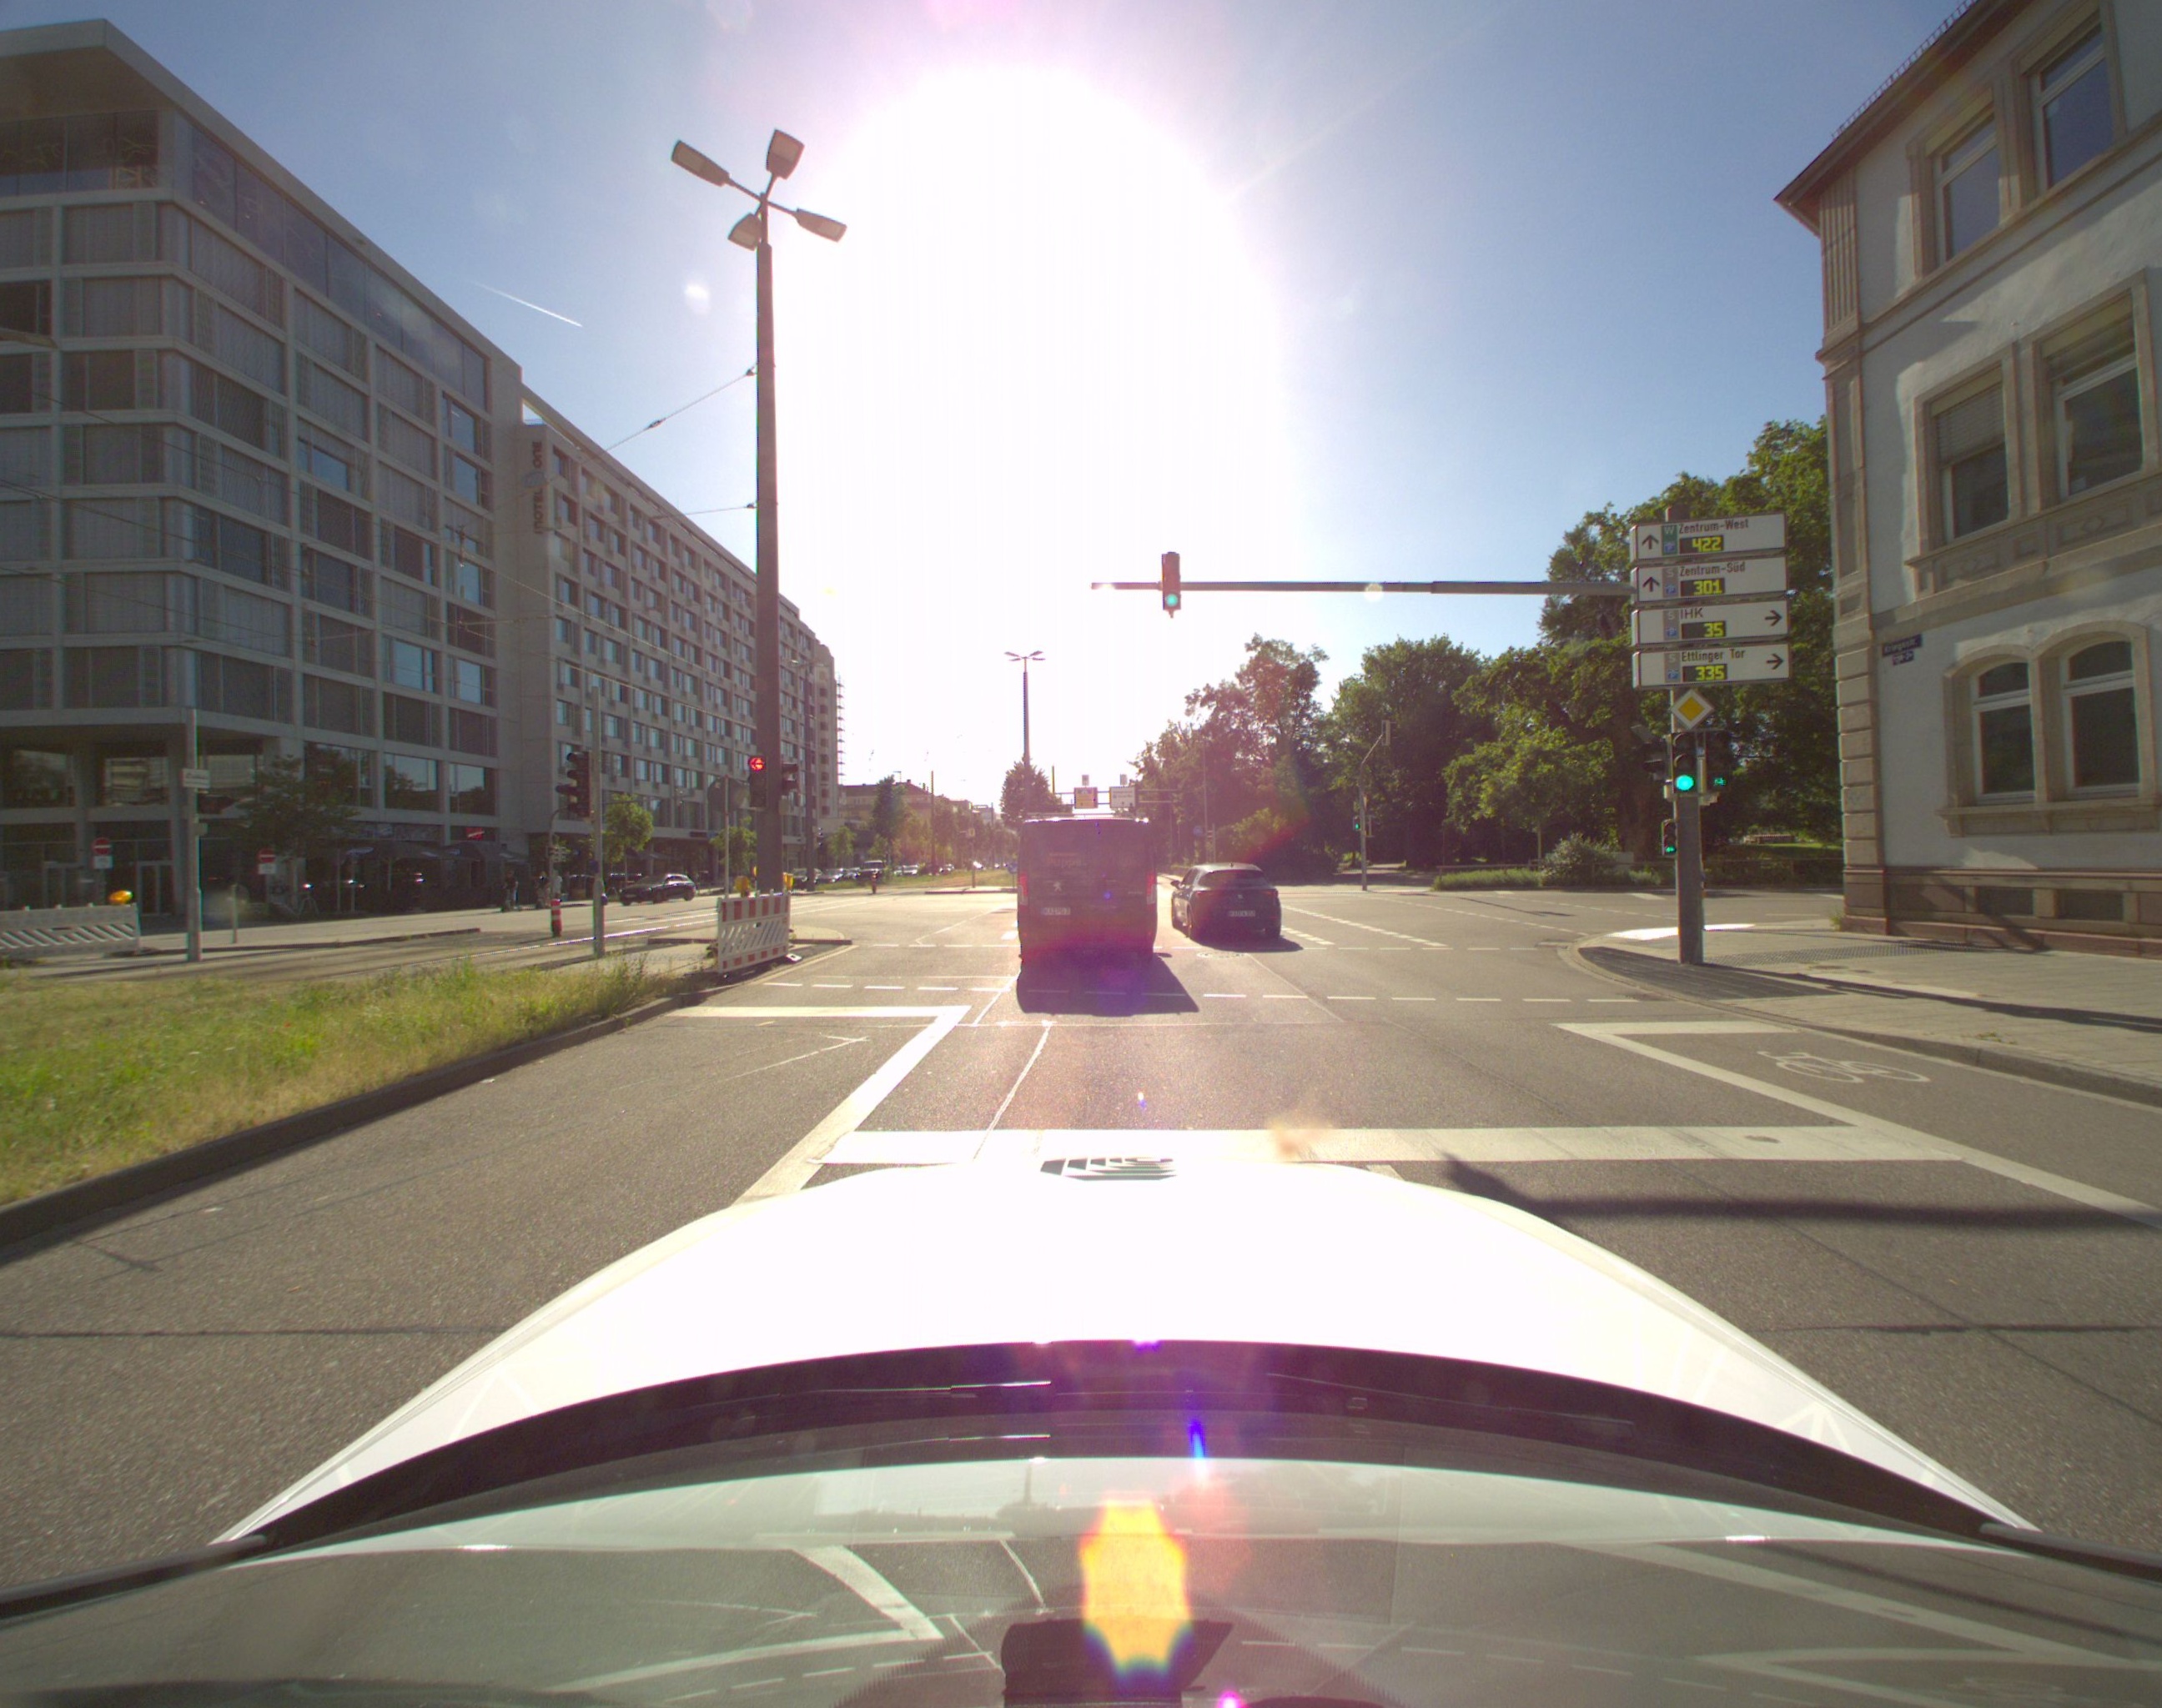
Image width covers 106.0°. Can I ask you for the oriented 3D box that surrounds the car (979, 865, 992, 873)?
[{"bbox_3d":[-19.102,2.901,162.457,1.986,1.552,4.002,0,-1,2],"label":"car"}]

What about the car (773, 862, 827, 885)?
[{"bbox_3d":[-19.724,1.334,57.352,1.982,1.552,4.009,0,-1,8],"label":"car"}]

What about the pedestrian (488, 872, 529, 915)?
[{"bbox_3d":[-27.082,1.850,38.517,1.067,2.014,1.264,0,-1,-4],"label":"pedestrian"}]

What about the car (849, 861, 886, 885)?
[{"bbox_3d":[-16.914,1.489,64.752,1.989,1.819,4.281,0,-1,-3],"label":"car"}]

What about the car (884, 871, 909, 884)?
[{"bbox_3d":[-22.628,2.838,99.889,1.985,1.552,4.003,0,-1,3],"label":"car"}]

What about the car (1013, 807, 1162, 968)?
[{"bbox_3d":[0.118,0.483,13.481,2.075,2.249,4.000,0,-1,1],"label":"car"}]

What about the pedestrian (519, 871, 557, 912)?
[{"bbox_3d":[-27.352,1.872,41.056,1.067,2.014,1.264,0,-1,-4],"label":"pedestrian"}]

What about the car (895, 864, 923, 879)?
[{"bbox_3d":[-18.772,1.909,89.076,1.985,1.552,4.003,0,-1,3],"label":"car"}]

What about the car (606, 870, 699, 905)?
[{"bbox_3d":[-20.946,1.618,40.018,1.981,1.552,4.011,-1,-1,10],"label":"car"}]

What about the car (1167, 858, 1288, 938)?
[{"bbox_3d":[2.897,0.821,16.905,1.758,1.462,3.998,0,-1,-1],"label":"car"}]

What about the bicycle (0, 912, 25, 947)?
[{"bbox_3d":[-29.890,2.078,21.712,0.770,0.936,2.010,0,-1,4],"label":"bicycle"}]

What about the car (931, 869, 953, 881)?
[{"bbox_3d":[-18.779,2.783,110.095,1.985,1.552,4.003,0,-1,3],"label":"car"}]

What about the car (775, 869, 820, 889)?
[{"bbox_3d":[-22.492,1.962,64.844,1.985,1.552,4.003,0,-1,3],"label":"car"}]

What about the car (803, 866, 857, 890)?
[{"bbox_3d":[-17.015,1.625,55.497,1.982,1.552,4.009,0,-1,8],"label":"car"}]
